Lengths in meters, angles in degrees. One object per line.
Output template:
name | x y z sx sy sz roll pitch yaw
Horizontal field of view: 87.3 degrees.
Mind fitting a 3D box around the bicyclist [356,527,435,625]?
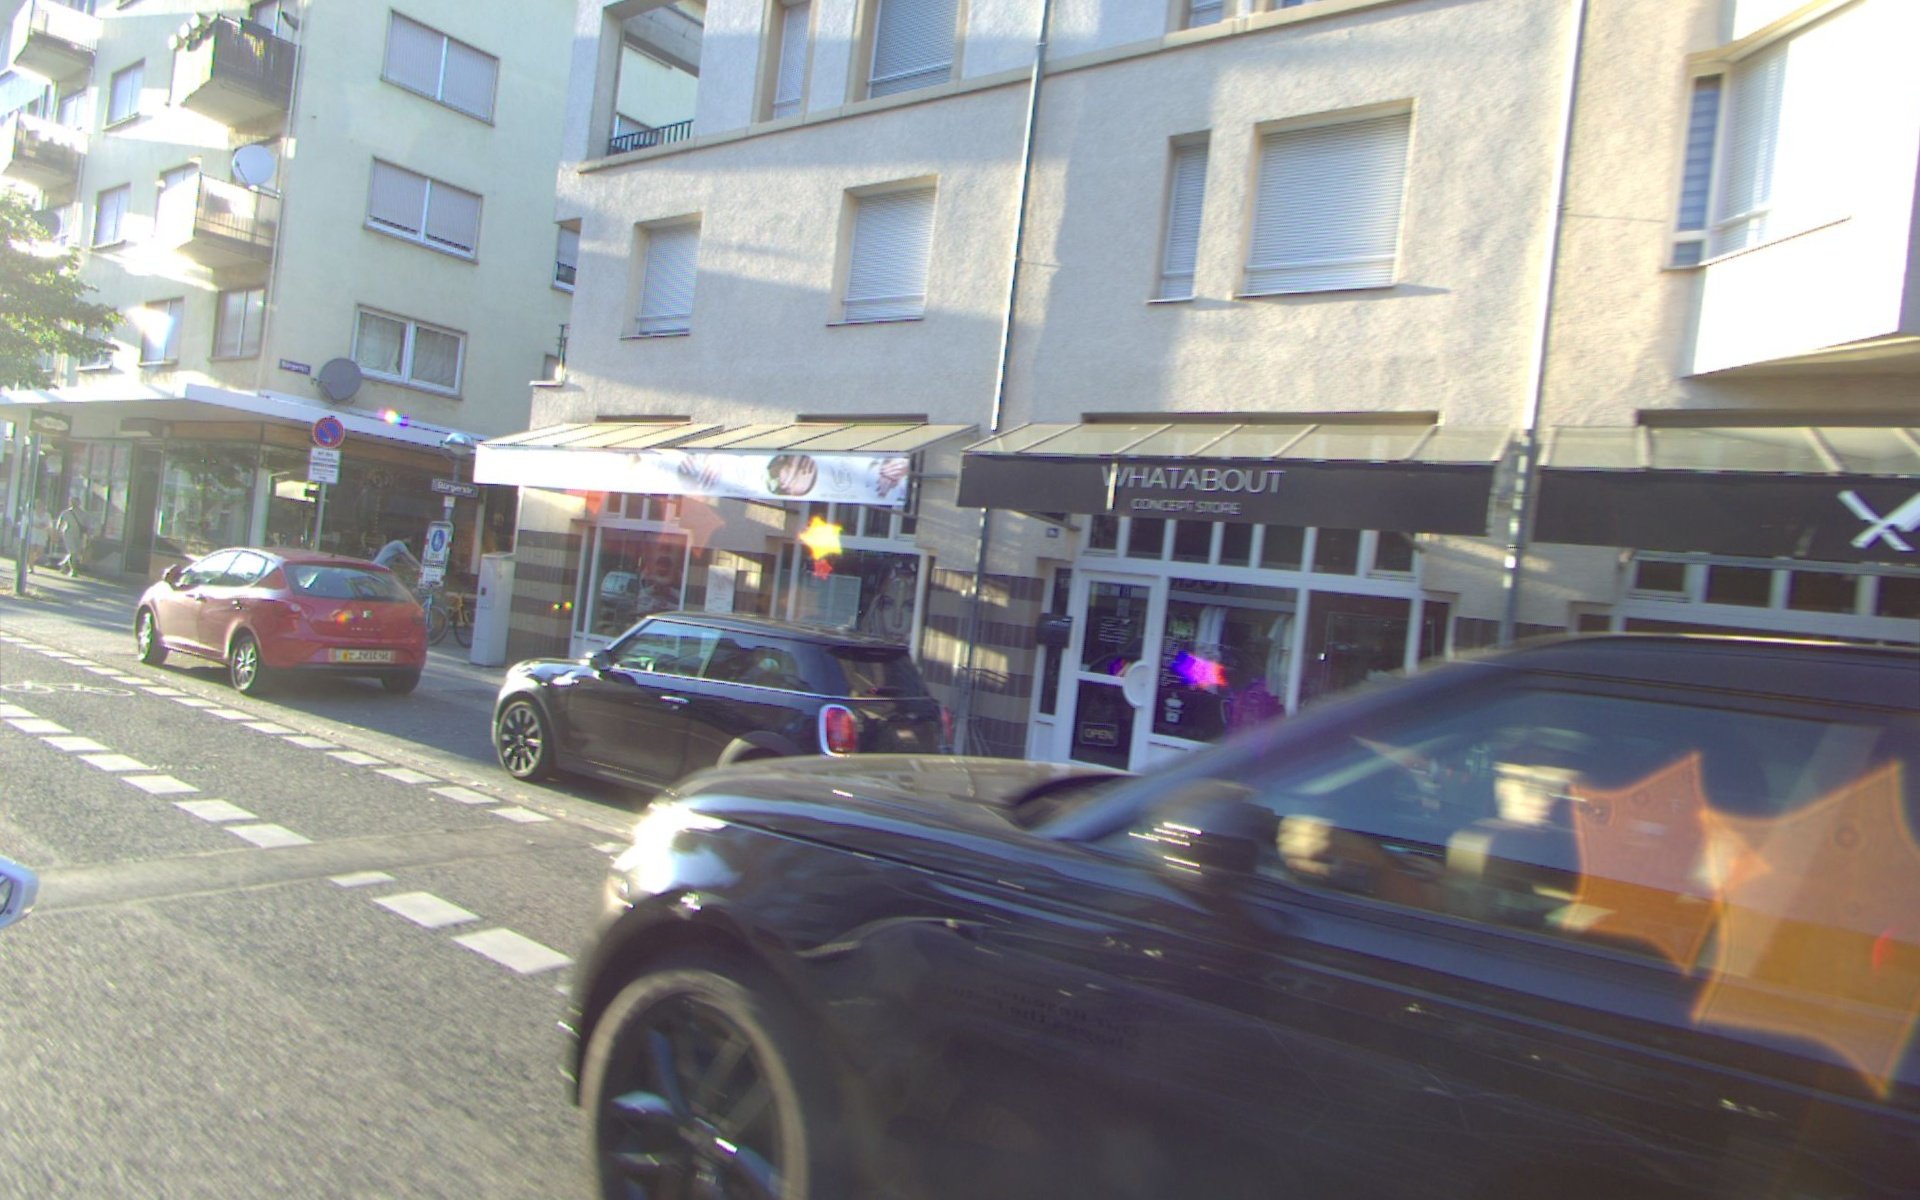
bicyclist | -10.690 -0.449 19.059 1.086 1.723 0.646 7 0 -37

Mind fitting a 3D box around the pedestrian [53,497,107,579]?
pedestrian | -19.834 -1.393 22.677 0.706 1.743 0.687 7 1 39

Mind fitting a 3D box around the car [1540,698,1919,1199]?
car | 3.796 1.361 3.777 2.649 1.573 1.635 7 0 30

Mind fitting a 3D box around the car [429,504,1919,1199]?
car | 1.232 0.919 2.084 4.598 1.674 1.999 6 -3 33

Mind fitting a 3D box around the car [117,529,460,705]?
car | -7.521 0.154 11.175 3.868 1.454 1.705 6 -1 33

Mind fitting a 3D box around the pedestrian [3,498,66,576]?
pedestrian | -20.400 -1.391 22.173 0.848 1.578 0.689 7 0 31

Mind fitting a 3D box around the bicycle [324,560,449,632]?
bicycle | -10.808 -0.057 19.004 1.915 1.169 0.646 6 1 -37

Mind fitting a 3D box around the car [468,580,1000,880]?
car | -1.770 0.794 7.515 3.696 1.442 1.635 6 0 32

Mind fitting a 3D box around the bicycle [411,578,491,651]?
bicycle | -8.674 0.241 17.107 1.689 1.051 0.288 7 0 32

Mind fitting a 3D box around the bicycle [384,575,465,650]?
bicycle | -8.924 0.197 16.733 1.689 1.051 0.288 7 0 32
